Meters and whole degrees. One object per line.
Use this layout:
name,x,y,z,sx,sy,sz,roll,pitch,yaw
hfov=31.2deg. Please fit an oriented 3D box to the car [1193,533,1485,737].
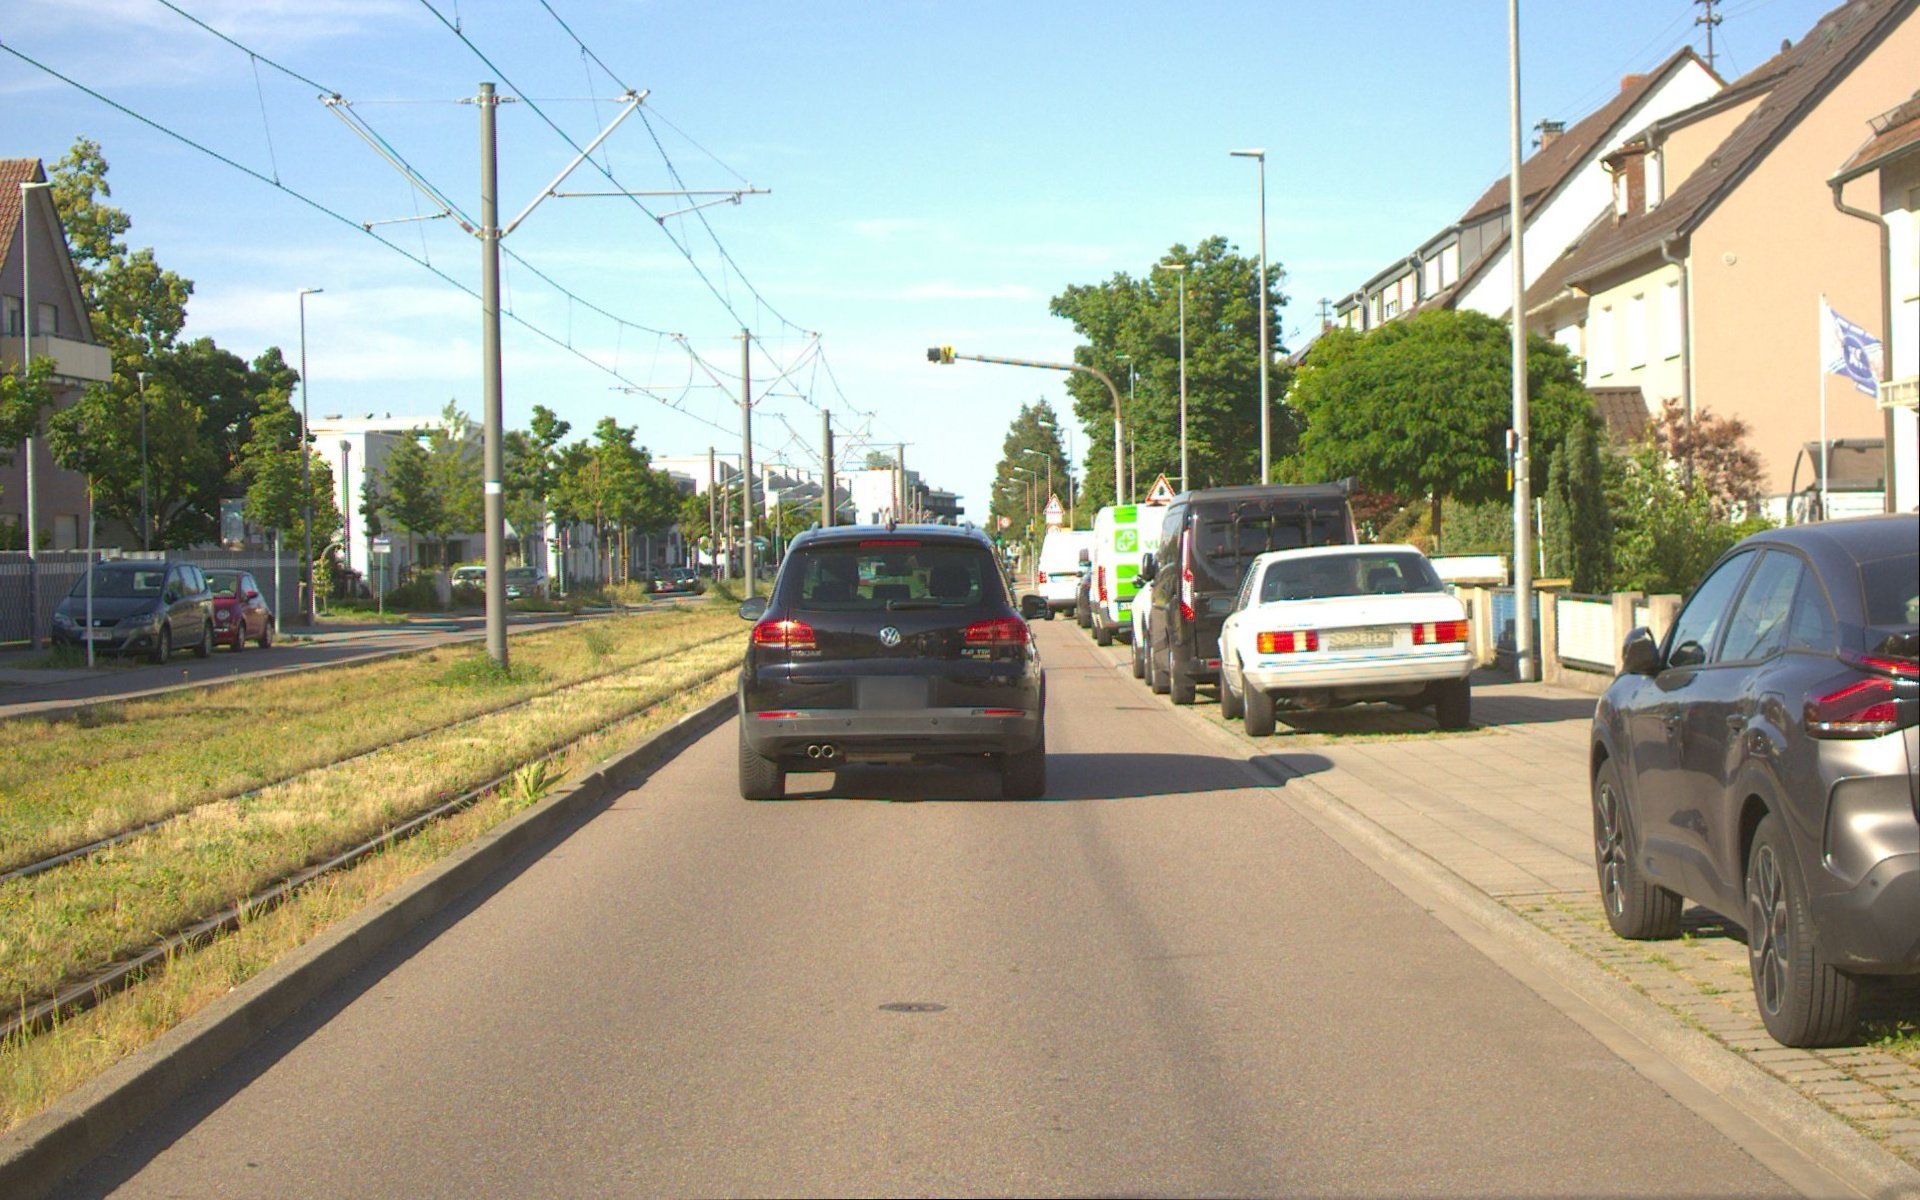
car,3.017,0.213,28.468,1.852,1.439,5.613,-3,1,1

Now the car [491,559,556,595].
car,-18.265,-0.960,144.041,1.811,1.456,4.317,1,0,5

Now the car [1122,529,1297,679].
car,2.921,0.022,41.027,1.725,1.640,4.319,-2,1,0

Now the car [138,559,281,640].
car,-13.925,-0.028,63.973,1.695,1.400,4.079,-1,1,1

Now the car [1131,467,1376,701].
car,2.886,-0.179,34.901,1.960,2.137,5.335,-2,1,0

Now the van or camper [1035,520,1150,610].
van or camper,3.058,-0.817,78.236,2.028,1.950,5.293,-1,1,8

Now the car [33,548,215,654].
car,-14.037,-0.014,58.015,1.819,1.678,4.846,1,1,1

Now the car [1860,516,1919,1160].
car,3.045,0.573,5.748,1.748,1.442,4.699,-2,2,-1

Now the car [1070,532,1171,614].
car,3.135,-0.537,67.960,1.748,1.489,5.155,-2,0,0

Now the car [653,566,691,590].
car,-17.355,-1.333,207.332,1.688,1.384,4.387,-3,0,2

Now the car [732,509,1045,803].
car,-0.467,0.308,21.678,1.775,1.664,4.000,1,0,-2

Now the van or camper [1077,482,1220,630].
van or camper,3.093,-0.724,57.563,1.993,2.263,6.305,-2,0,0

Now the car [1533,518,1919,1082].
car,3.182,0.477,11.476,1.777,1.493,4.728,-1,1,1

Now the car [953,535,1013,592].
car,0.746,-1.211,113.922,1.627,1.822,4.131,-1,1,-4
